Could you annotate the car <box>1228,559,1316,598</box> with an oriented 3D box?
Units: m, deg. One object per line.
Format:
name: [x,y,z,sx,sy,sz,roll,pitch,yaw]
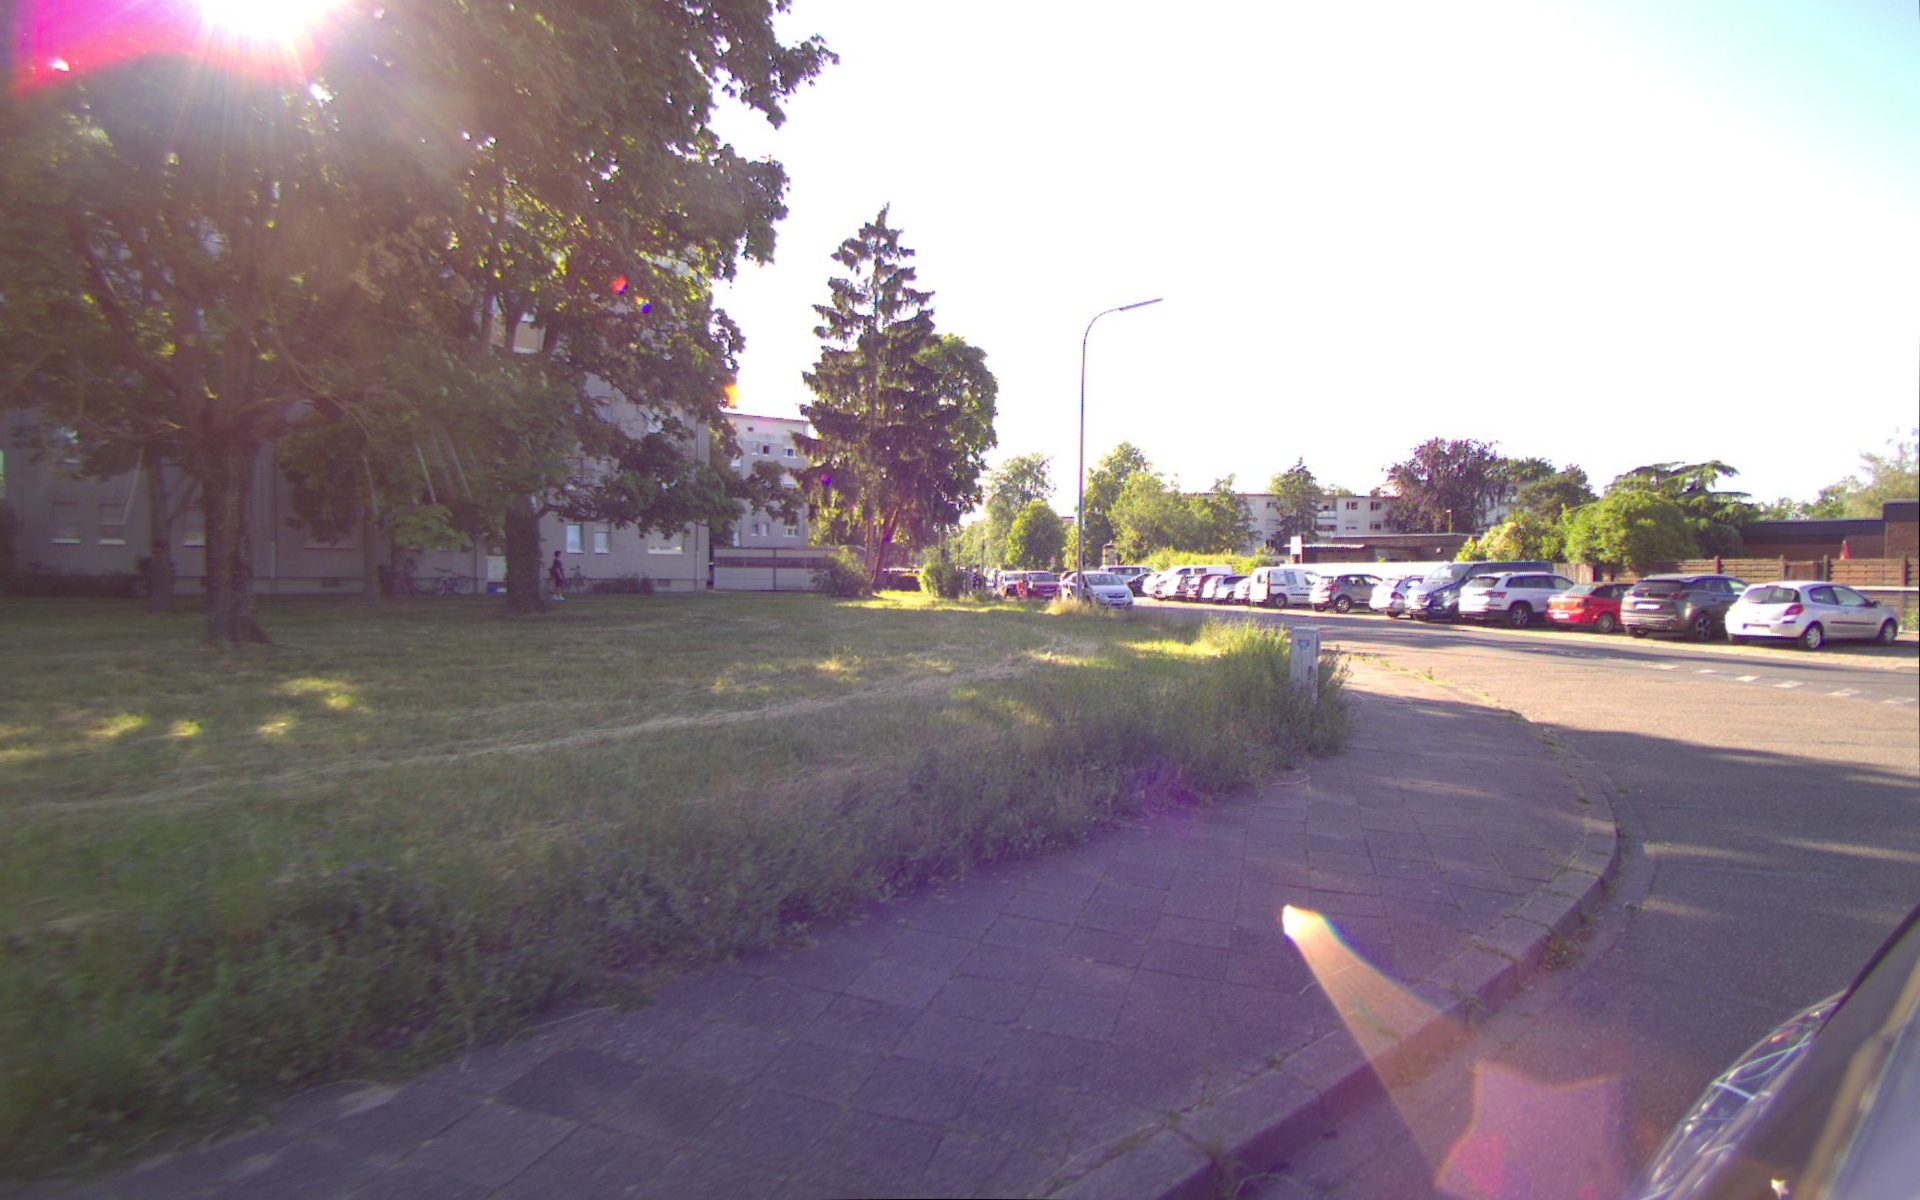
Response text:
car: [14.508,-1.019,47.101,3.453,1.506,1.732,-4,5,-9]

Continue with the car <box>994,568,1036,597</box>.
car: [2.980,-0.987,55.375,1.619,1.420,3.889,1,3,-7]

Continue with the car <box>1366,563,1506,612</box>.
car: [16.719,-0.472,35.629,4.066,1.510,1.929,-2,3,-9]

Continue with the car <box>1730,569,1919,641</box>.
car: [19.684,0.062,23.033,3.621,1.476,1.638,-1,2,-17]

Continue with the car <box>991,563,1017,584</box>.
car: [3.435,-2.115,79.698,1.699,1.615,3.816,-1,2,-3]

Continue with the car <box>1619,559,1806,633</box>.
car: [18.962,-0.149,25.533,3.916,1.631,1.823,-3,3,-17]

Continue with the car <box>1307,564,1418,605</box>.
car: [16.022,-0.642,40.334,3.746,1.551,1.793,-1,2,-13]

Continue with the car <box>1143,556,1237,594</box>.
car: [12.993,-1.449,57.321,4.706,1.944,2.086,-2,2,-9]

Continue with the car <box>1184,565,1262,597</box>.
car: [13.430,-0.970,51.697,3.453,1.507,1.639,-2,1,-9]

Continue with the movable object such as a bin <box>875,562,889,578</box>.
movable object such as a bin: [-6.802,-2.609,88.057,1.061,1.363,0.863,1,3,9]

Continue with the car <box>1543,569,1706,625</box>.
car: [18.472,-0.108,28.188,3.549,1.360,1.737,-2,3,-10]

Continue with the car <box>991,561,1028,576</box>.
car: [5.368,-3.462,109.720,3.927,1.474,1.563,-4,3,-36]

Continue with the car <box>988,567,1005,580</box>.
car: [4.826,-3.507,133.971,1.783,1.703,3.652,2,2,-3]

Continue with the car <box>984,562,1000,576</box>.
car: [4.603,-4.527,147.452,1.874,1.965,4.514,2,1,-3]

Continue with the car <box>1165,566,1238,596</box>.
car: [13.043,-1.063,54.676,3.452,1.464,1.640,-2,3,-11]

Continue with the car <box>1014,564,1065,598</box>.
car: [3.722,-0.936,47.951,1.548,1.464,3.797,-1,3,-10]

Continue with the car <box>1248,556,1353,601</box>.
car: [15.043,-0.974,44.777,3.908,1.802,1.929,-2,2,-10]

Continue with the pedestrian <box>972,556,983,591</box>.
pedestrian: [0.796,-1.210,46.169,0.474,1.583,0.597,2,2,3]

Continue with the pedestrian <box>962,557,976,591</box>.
pedestrian: [0.419,-1.218,47.161,0.477,1.583,0.470,1,2,-11]

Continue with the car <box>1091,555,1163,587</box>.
car: [11.304,-1.992,68.678,4.404,2.001,2.003,-2,3,-4]

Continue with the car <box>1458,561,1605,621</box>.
car: [17.142,-0.308,30.438,3.549,1.626,1.737,-2,3,-10]

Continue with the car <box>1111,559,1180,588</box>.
car: [12.052,-1.758,65.849,4.087,1.726,1.884,-2,3,1]

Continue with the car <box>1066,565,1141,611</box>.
car: [5.307,-0.478,37.820,1.701,1.561,3.797,-1,3,-10]

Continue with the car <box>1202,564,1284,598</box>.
car: [13.864,-0.935,49.698,3.455,1.507,1.639,-2,2,-5]

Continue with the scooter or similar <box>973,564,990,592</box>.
scooter or similar: [0.988,-1.034,47.263,0.612,1.242,0.907,1,2,-8]

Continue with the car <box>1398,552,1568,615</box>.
car: [17.071,-0.578,33.110,4.785,1.939,2.005,-1,2,-14]

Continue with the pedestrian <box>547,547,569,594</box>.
pedestrian: [-14.608,-1.086,36.777,0.482,1.682,0.536,-2,2,3]

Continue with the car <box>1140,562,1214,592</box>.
car: [12.906,-1.409,60.331,3.921,1.602,1.886,-2,3,-3]

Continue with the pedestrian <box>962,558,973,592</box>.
pedestrian: [0.332,-1.144,45.695,0.355,1.521,0.502,1,2,-10]
